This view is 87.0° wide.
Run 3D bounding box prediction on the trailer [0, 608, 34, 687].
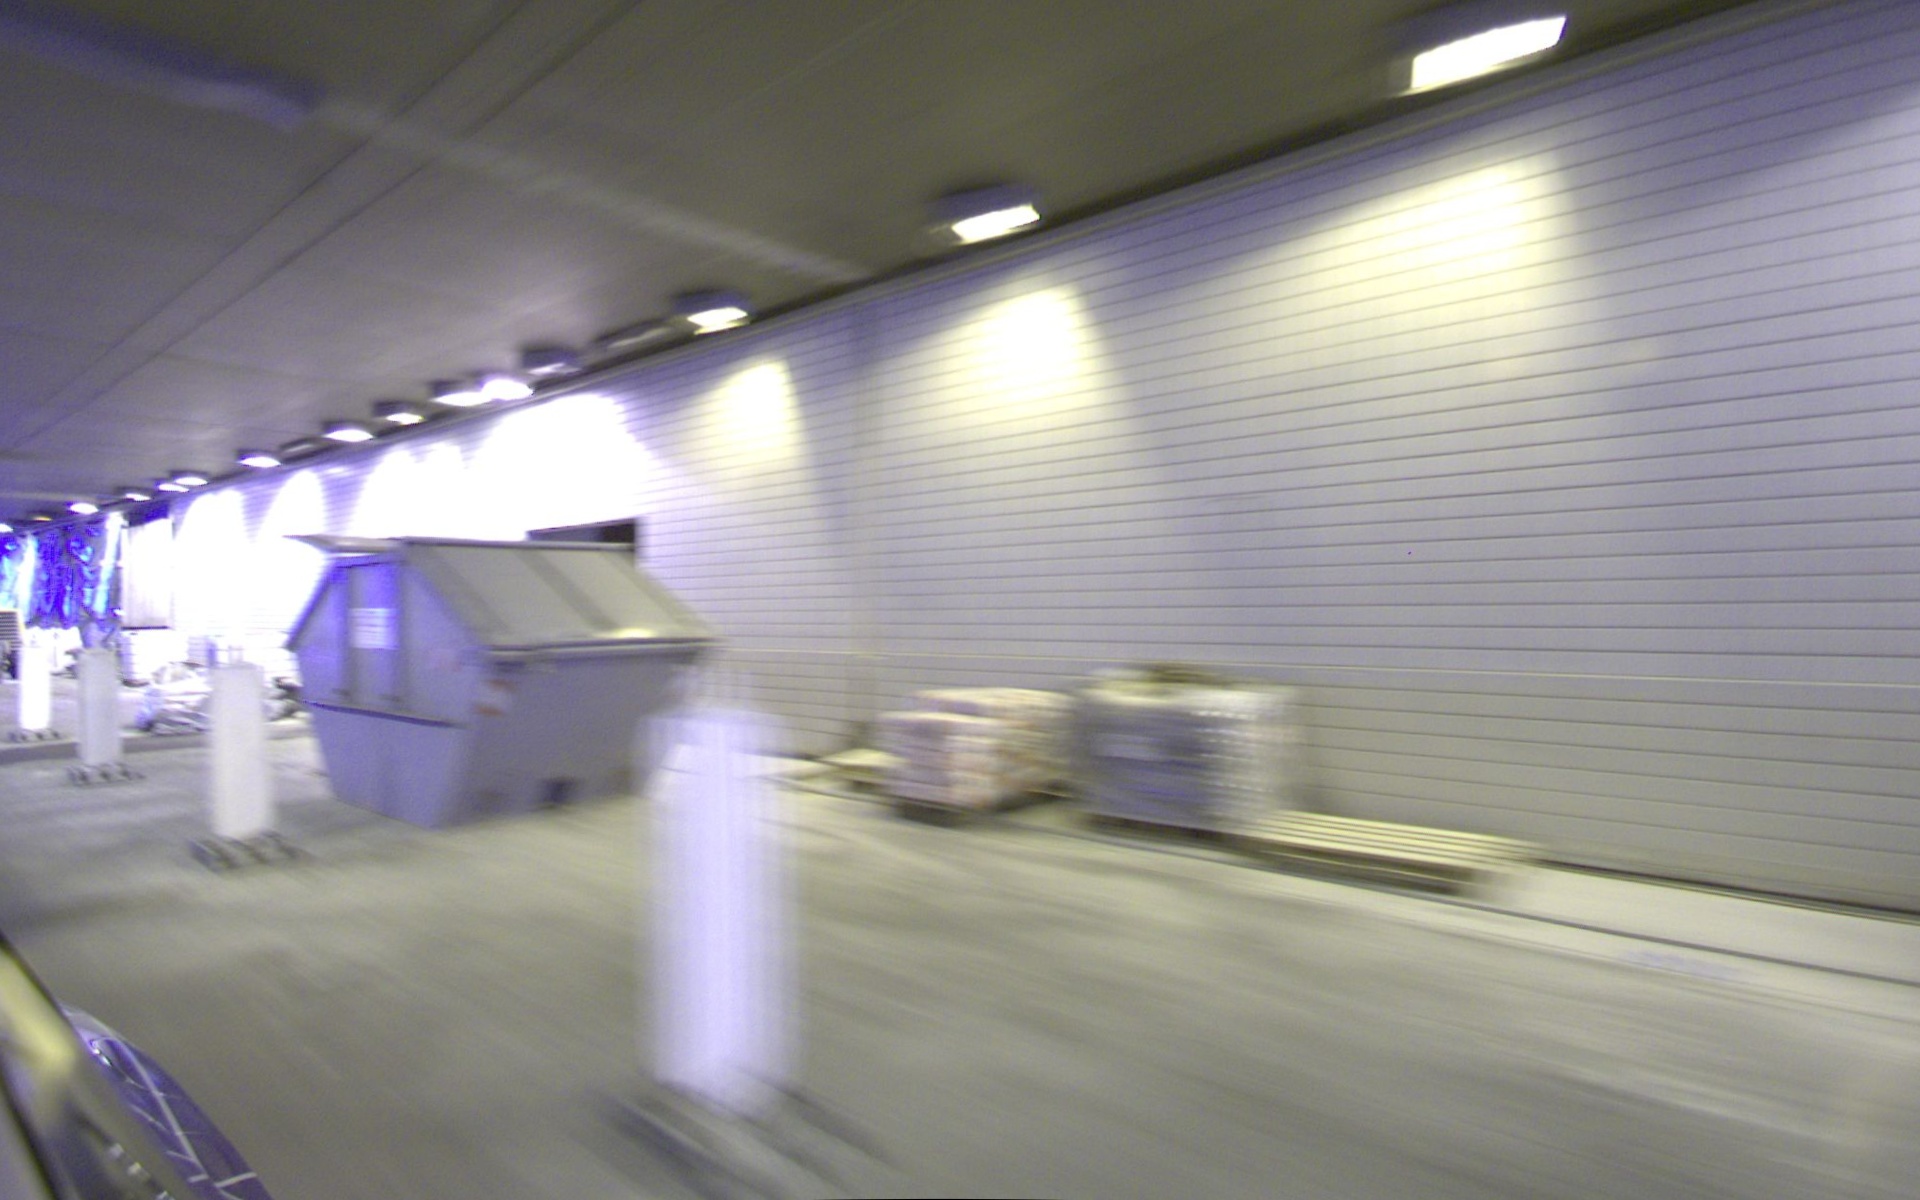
[{"bbox_3d":[-23.438,1.112,23.942,3.115,1.804,1.625,-1,-1,35],"label":"trailer"}]
